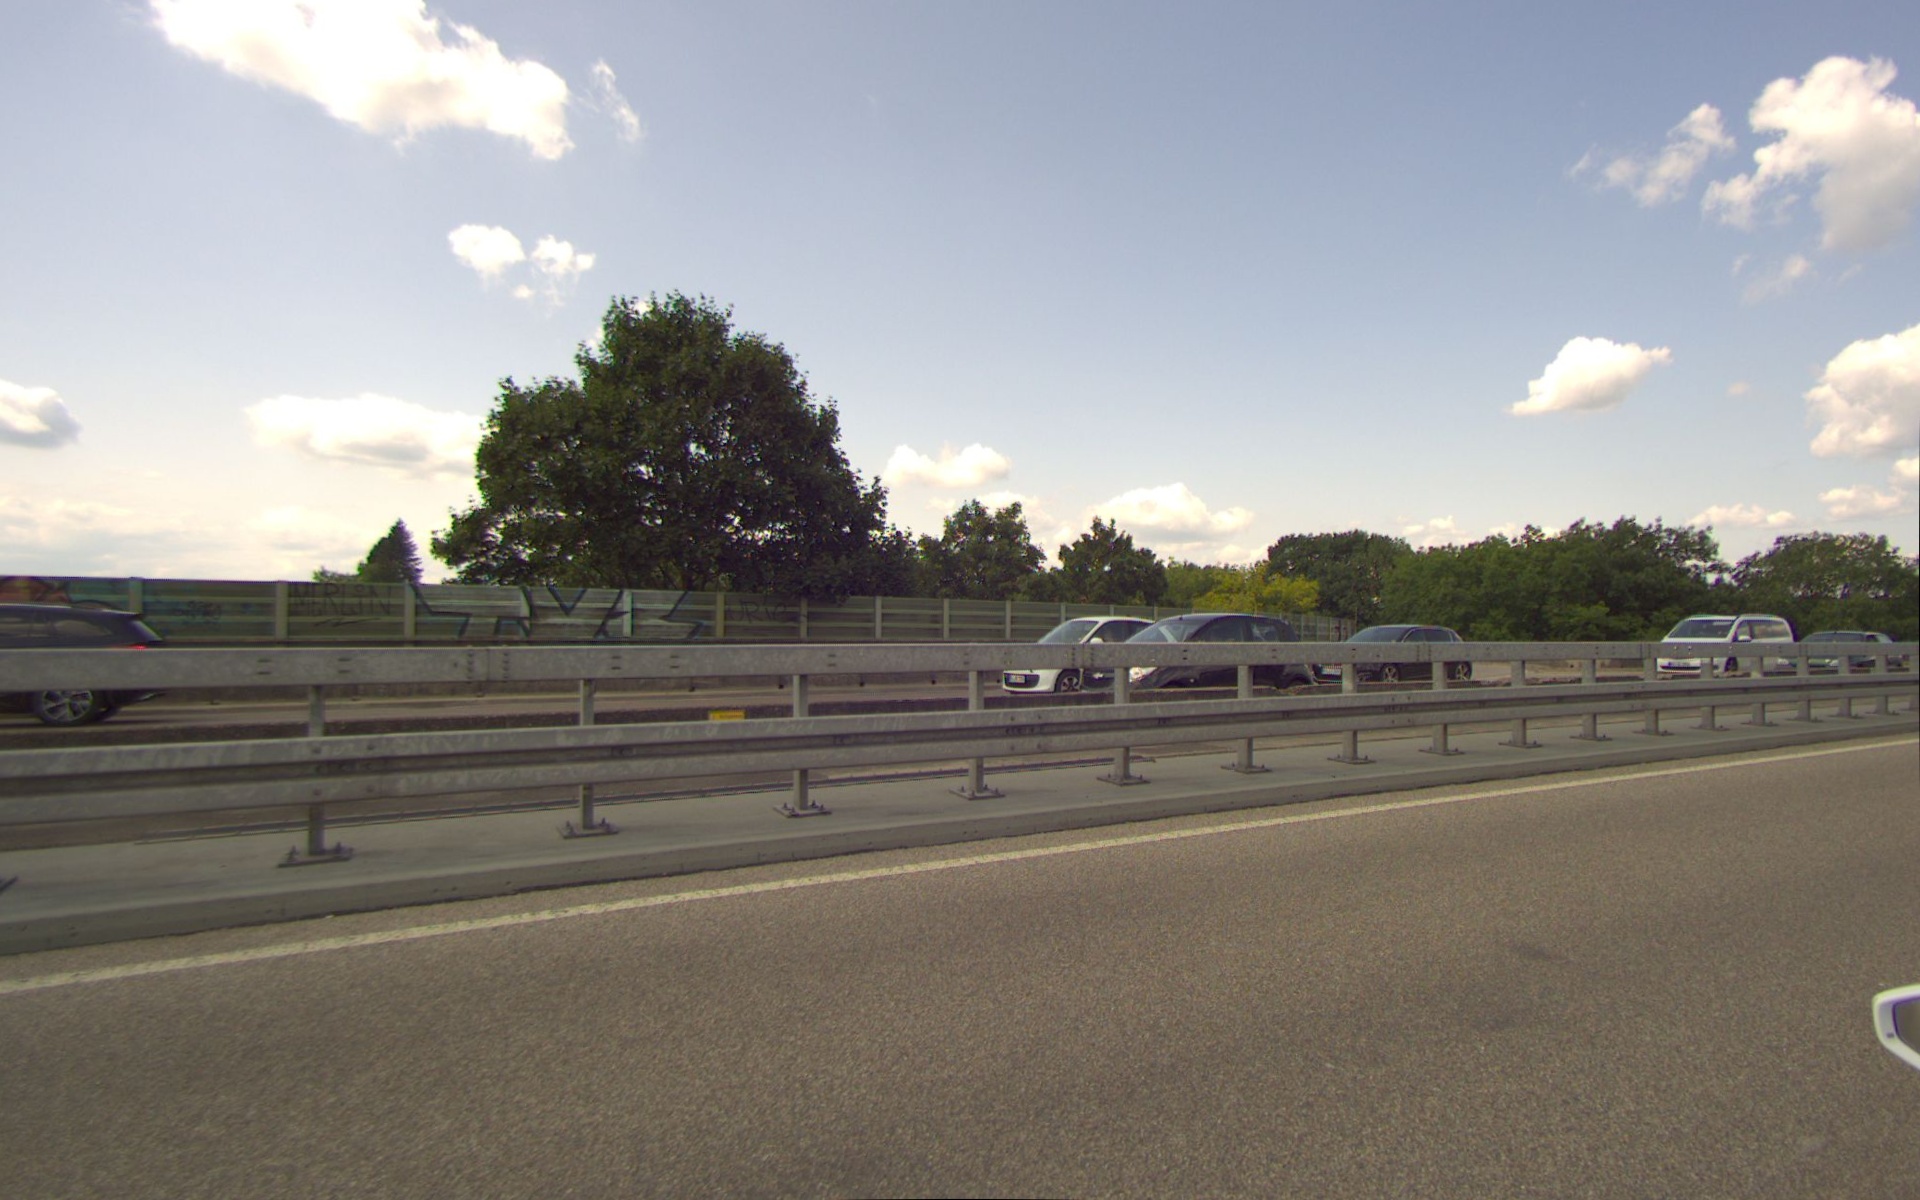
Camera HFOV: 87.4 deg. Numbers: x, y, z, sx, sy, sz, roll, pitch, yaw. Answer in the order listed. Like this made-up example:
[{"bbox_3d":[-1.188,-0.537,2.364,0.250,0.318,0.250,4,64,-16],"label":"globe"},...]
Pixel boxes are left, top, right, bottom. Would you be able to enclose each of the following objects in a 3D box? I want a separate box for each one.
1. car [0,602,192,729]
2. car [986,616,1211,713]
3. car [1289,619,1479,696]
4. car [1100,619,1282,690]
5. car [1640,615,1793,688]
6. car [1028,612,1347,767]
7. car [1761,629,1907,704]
[{"bbox_3d":[-13.159,0.864,13.523,4.232,1.640,1.707,2,-3,-30],"label":"car"},{"bbox_3d":[2.622,1.148,18.874,3.842,1.595,1.914,2,0,-31],"label":"car"},{"bbox_3d":[9.692,1.278,22.891,4.196,1.594,1.914,2,-2,-31],"label":"car"},{"bbox_3d":[5.682,1.282,24.580,4.234,1.595,1.914,1,-1,-31],"label":"car"},{"bbox_3d":[22.542,1.452,29.877,5.134,1.951,1.949,0,1,-33],"label":"car"},{"bbox_3d":[3.289,1.176,14.414,4.187,1.881,1.985,2,0,-29],"label":"car"},{"bbox_3d":[21.840,1.591,25.075,3.699,1.644,1.718,0,1,-32],"label":"car"}]
